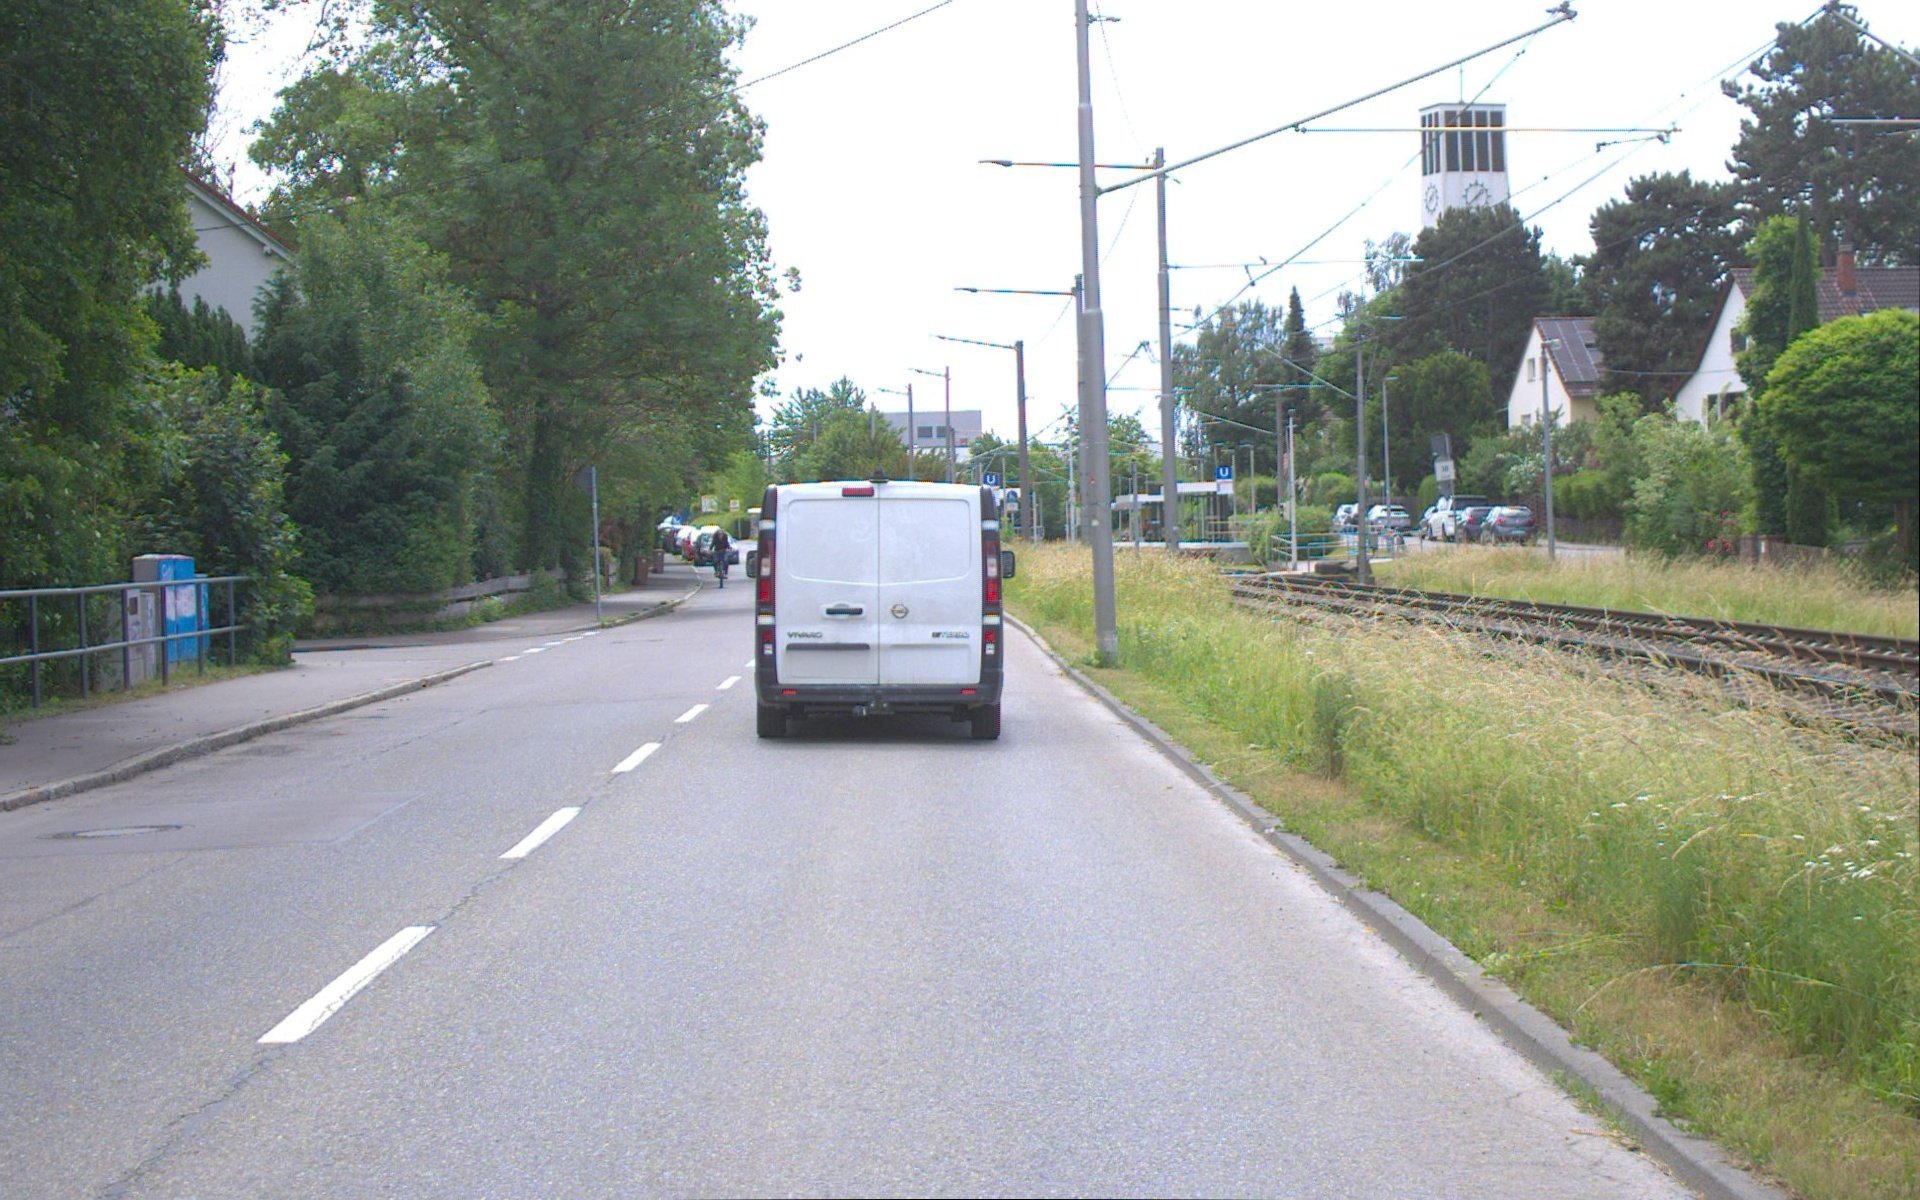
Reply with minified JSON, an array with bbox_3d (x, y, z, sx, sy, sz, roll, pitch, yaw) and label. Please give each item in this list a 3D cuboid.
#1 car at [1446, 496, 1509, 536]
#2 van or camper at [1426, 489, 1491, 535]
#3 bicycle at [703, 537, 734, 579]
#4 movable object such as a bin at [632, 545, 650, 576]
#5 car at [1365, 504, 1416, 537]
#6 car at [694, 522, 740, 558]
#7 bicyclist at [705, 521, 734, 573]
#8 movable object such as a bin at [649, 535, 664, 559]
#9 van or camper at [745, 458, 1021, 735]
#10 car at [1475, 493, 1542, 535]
[{"bbox_3d":[20.548,-3.337,136.637,1.883,1.517,4.000,-1,1,0],"label":"car"},{"bbox_3d":[20.456,-3.606,141.329,1.905,1.819,5.048,-1,1,0],"label":"van or camper"},{"bbox_3d":[-7.292,-1.273,103.902,0.755,1.222,2.308,-3,1,-1],"label":"bicycle"},{"bbox_3d":[-9.807,-1.208,105.824,0.513,0.941,0.568,0,1,-2],"label":"movable object such as a bin"},{"bbox_3d":[20.433,-3.793,163.317,1.883,1.517,4.000,-1,1,0],"label":"car"},{"bbox_3d":[-10.784,-2.671,152.437,1.736,1.499,4.479,-3,2,-7],"label":"car"},{"bbox_3d":[-7.281,-1.602,104.106,0.778,1.544,0.870,-2,1,-1],"label":"bicyclist"},{"bbox_3d":[-11.774,-2.052,133.189,0.462,0.927,0.430,2,0,-18],"label":"movable object such as a bin"},{"bbox_3d":[-0.580,-0.058,27.125,1.993,2.007,4.446,0,1,-1],"label":"van or camper"},{"bbox_3d":[20.813,-3.260,130.513,1.883,1.517,4.000,-1,1,0],"label":"car"}]
